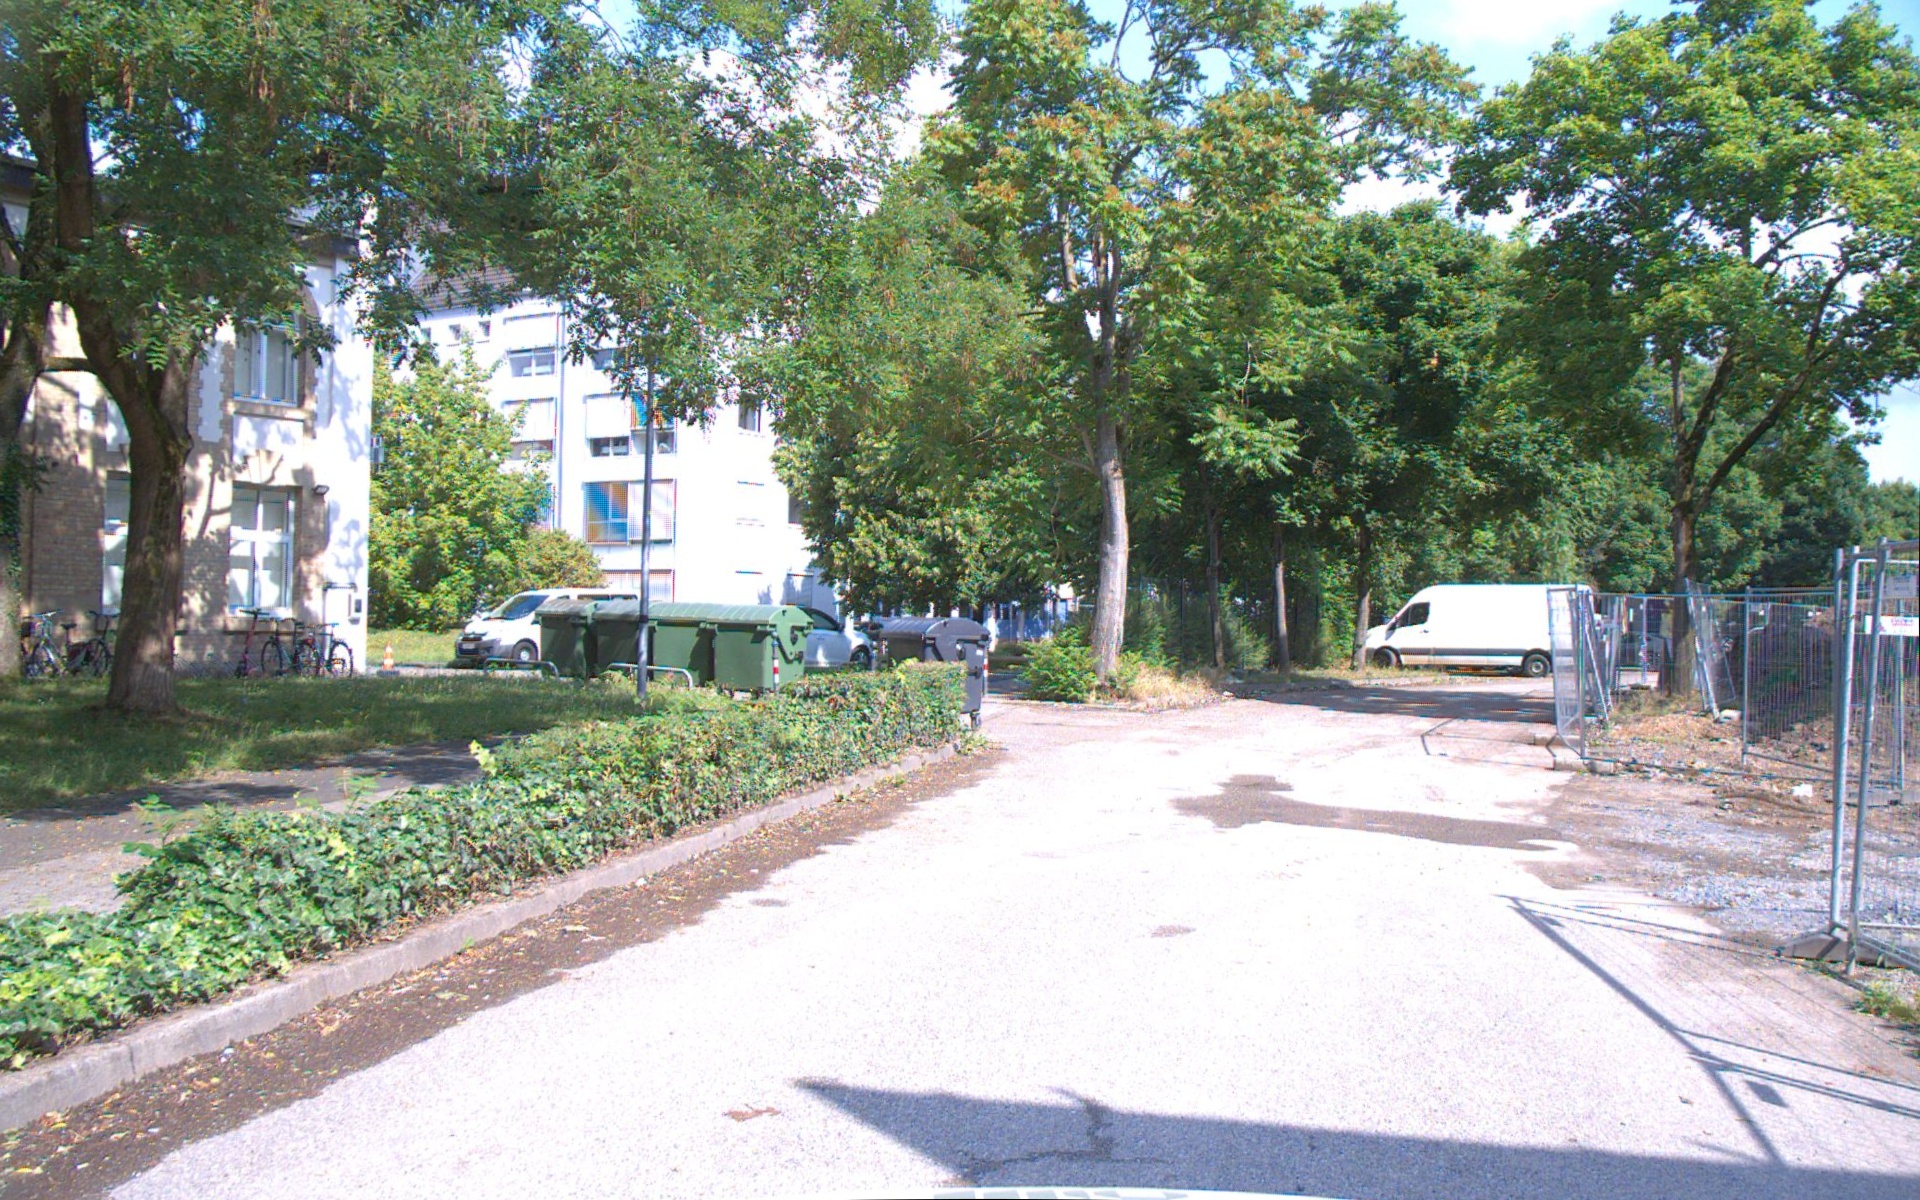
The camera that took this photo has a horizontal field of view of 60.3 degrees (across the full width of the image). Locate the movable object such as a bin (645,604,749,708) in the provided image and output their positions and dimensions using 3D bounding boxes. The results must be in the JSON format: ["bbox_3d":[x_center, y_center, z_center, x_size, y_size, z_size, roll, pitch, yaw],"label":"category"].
[{"bbox_3d":[-3.943,0.832,24.826,1.208,1.477,0.878,2,-1,32],"label":"movable object such as a bin"}]

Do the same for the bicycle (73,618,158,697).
[{"bbox_3d":[-12.840,0.859,25.119,2.030,1.075,0.417,2,-1,42],"label":"bicycle"}]

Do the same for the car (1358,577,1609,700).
[{"bbox_3d":[15.408,1.064,48.765,6.812,3.100,2.000,3,1,22],"label":"car"}]

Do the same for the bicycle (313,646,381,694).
[{"bbox_3d":[-10.559,1.192,28.443,1.828,0.718,0.318,2,-1,44],"label":"bicycle"}]

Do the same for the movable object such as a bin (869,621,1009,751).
[{"bbox_3d":[-0.278,1.106,21.486,1.234,1.507,1.282,4,2,-32],"label":"movable object such as a bin"}]

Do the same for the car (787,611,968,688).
[{"bbox_3d":[-1.678,0.991,34.756,1.724,1.445,3.900,1,1,37],"label":"car"}]

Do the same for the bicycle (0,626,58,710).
[{"bbox_3d":[-13.618,0.960,23.857,2.030,1.074,0.417,2,3,42],"label":"bicycle"}]

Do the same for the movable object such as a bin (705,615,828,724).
[{"bbox_3d":[-2.815,1.002,24.108,1.315,1.477,1.100,2,-1,32],"label":"movable object such as a bin"}]

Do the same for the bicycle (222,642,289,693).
[{"bbox_3d":[-11.518,1.088,27.016,1.828,0.718,0.318,2,-1,44],"label":"bicycle"}]

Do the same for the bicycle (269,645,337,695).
[{"bbox_3d":[-10.982,1.164,27.620,1.828,0.718,0.318,2,-1,44],"label":"bicycle"}]

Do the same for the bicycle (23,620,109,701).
[{"bbox_3d":[-13.286,0.882,24.546,2.030,1.075,0.417,2,-1,42],"label":"bicycle"}]

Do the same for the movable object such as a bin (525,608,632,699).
[{"bbox_3d":[-6.166,0.858,26.736,1.352,1.372,0.944,2,-1,31],"label":"movable object such as a bin"}]

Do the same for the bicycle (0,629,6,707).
[{"bbox_3d":[-14.178,0.927,23.553,2.030,1.074,0.417,2,3,42],"label":"bicycle"}]

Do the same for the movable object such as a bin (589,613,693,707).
[{"bbox_3d":[-4.948,0.919,25.667,1.208,1.372,0.944,2,-1,31],"label":"movable object such as a bin"}]

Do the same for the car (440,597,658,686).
[{"bbox_3d":[-9.806,0.950,39.784,1.962,1.999,4.931,-1,-1,39],"label":"car"}]
